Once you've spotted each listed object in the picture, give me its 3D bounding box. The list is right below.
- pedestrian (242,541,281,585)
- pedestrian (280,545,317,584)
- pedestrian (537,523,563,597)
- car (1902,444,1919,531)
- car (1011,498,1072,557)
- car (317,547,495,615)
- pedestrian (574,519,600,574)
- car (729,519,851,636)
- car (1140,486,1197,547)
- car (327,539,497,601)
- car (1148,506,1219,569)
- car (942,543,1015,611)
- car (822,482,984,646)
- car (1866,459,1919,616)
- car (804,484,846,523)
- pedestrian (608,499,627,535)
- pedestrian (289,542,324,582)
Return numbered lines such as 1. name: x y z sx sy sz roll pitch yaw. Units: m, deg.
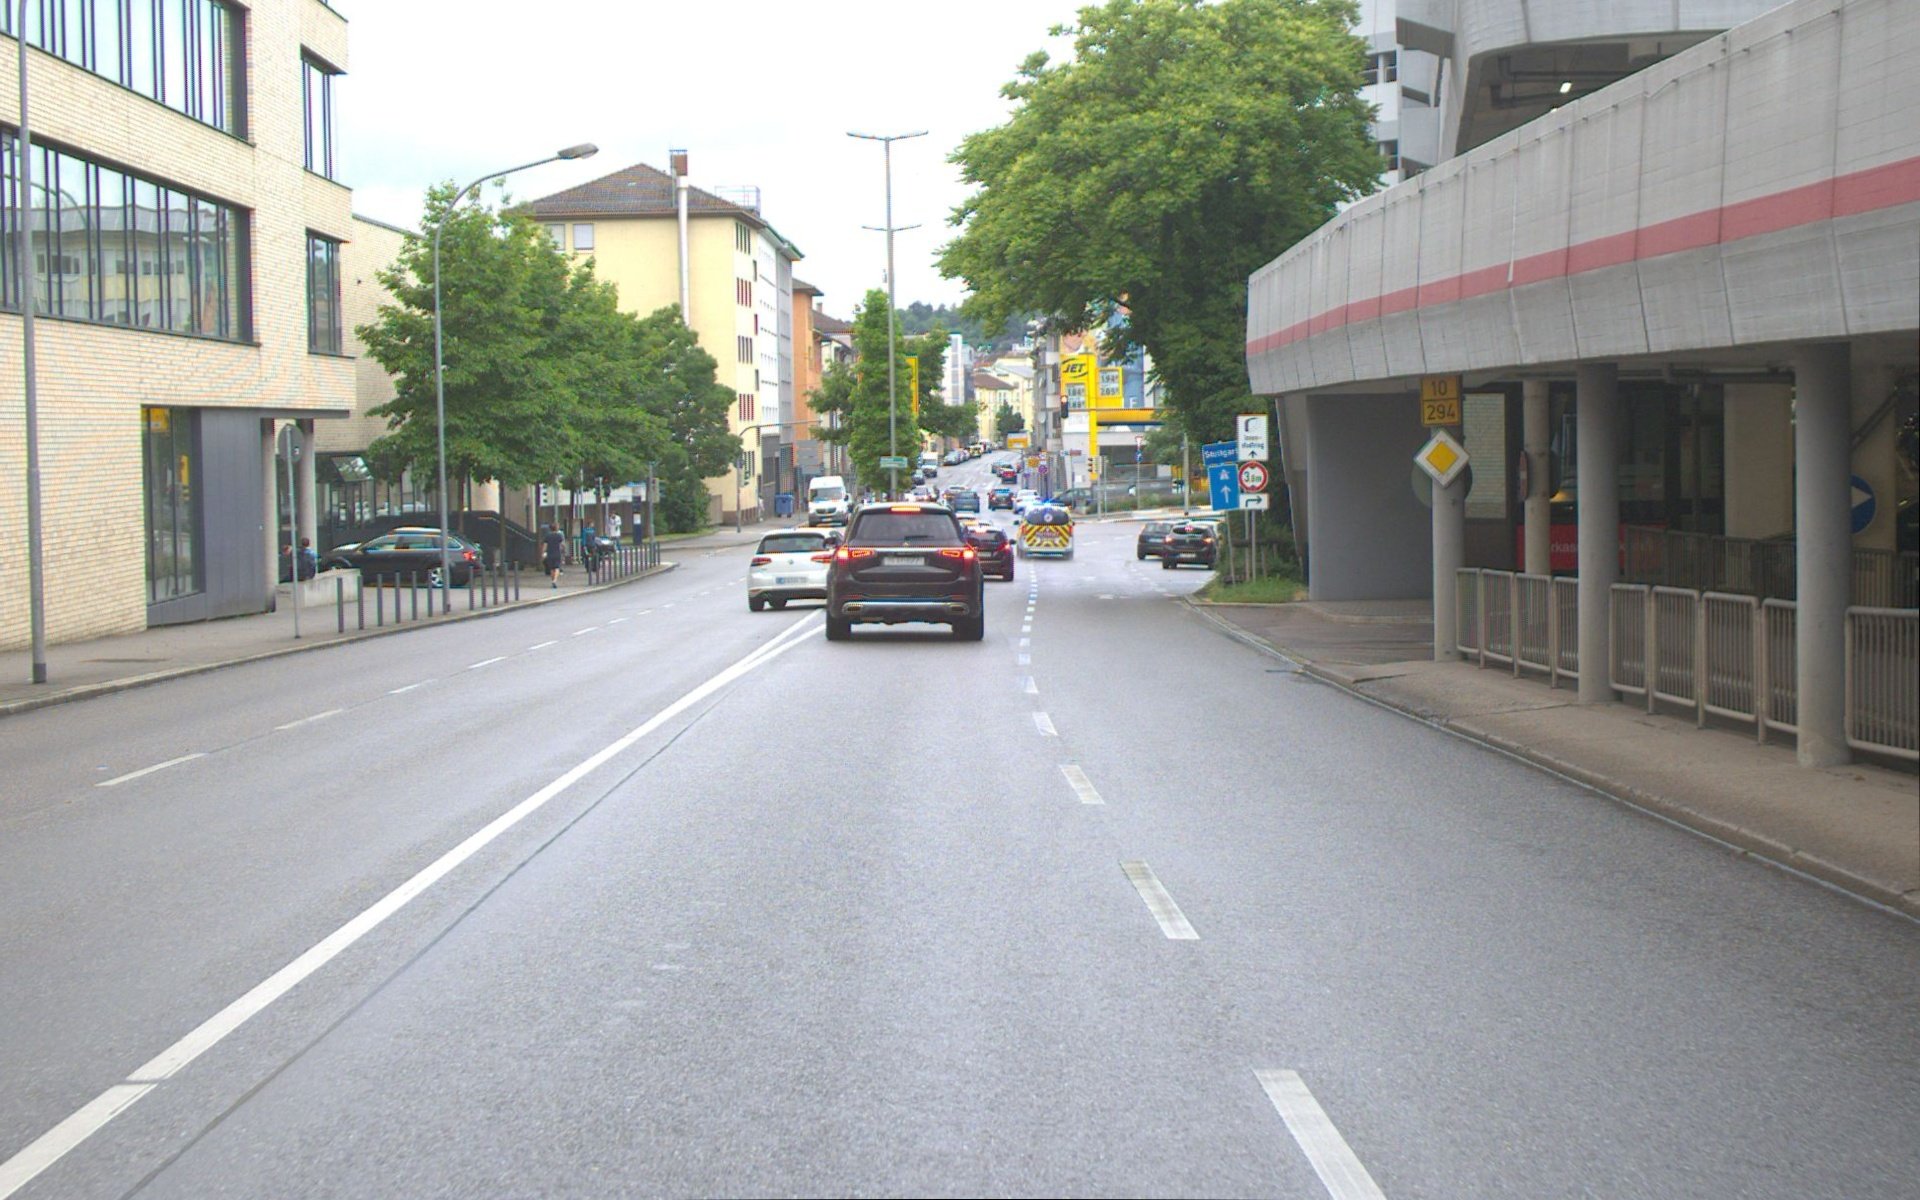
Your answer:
1. pedestrian: -14.412 -0.761 70.925 0.681 0.883 0.524 1 0 1
2. pedestrian: -13.837 -0.739 71.941 0.598 0.783 0.760 1 0 1
3. pedestrian: -11.170 -1.095 93.666 0.588 2.007 0.749 1 0 -1
4. car: 20.378 -2.134 66.446 3.989 1.634 1.999 1 0 10
5. car: 2.893 -2.582 122.780 1.993 2.007 4.000 1 0 0
6. car: -14.666 -0.522 91.195 4.467 1.581 2.000 -2 1 -5
7. pedestrian: -12.065 -1.730 111.204 0.688 1.720 0.754 1 -2 1
8. car: -3.063 -0.413 62.683 1.993 2.007 4.000 1 0 0
9. car: 7.543 -3.008 124.481 1.994 2.121 4.000 1 0 3
10. car: -14.955 -0.825 93.940 4.415 1.568 2.001 1 3 -4
11. car: 7.302 -2.061 112.492 1.993 2.007 4.000 1 1 -1
12. car: 0.453 -0.598 88.935 1.703 1.710 3.444 1 0 -2
13. car: -0.725 -0.466 45.183 1.993 2.007 4.000 1 0 0
14. car: 12.115 -0.611 36.621 4.577 1.634 1.821 1 0 9
15. car: -7.055 -5.054 180.260 1.993 1.868 5.142 1 0 -1
16. pedestrian: -14.341 -3.470 143.942 0.711 1.457 0.598 1 0 0
17. pedestrian: -13.871 -0.796 72.963 0.586 0.842 0.727 0 0 1
